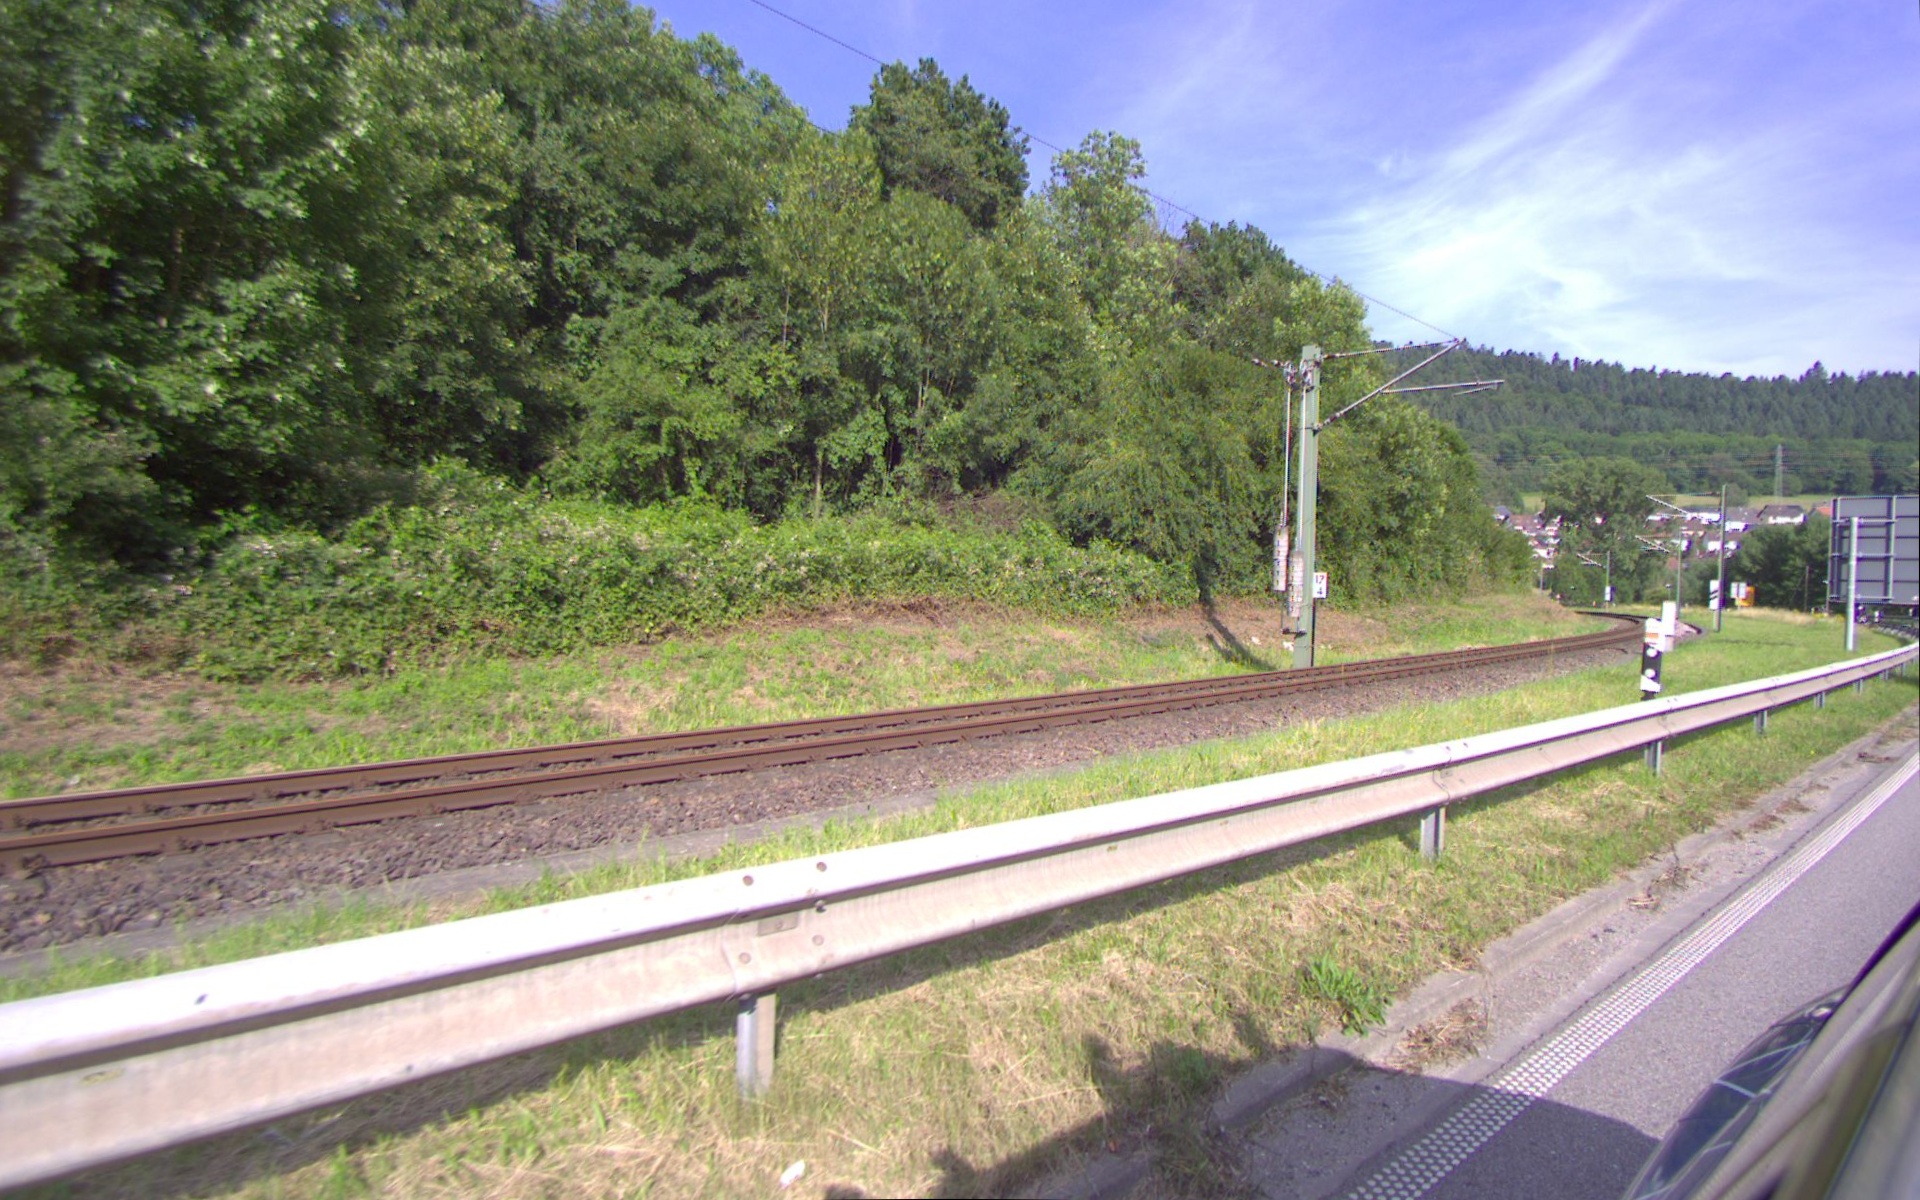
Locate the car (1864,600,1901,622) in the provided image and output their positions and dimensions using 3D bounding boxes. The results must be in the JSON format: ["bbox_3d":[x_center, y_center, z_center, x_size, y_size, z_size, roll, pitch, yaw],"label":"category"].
[{"bbox_3d":[70.271,0.787,77.130,1.865,1.613,3.995,0,0,39],"label":"car"}]
